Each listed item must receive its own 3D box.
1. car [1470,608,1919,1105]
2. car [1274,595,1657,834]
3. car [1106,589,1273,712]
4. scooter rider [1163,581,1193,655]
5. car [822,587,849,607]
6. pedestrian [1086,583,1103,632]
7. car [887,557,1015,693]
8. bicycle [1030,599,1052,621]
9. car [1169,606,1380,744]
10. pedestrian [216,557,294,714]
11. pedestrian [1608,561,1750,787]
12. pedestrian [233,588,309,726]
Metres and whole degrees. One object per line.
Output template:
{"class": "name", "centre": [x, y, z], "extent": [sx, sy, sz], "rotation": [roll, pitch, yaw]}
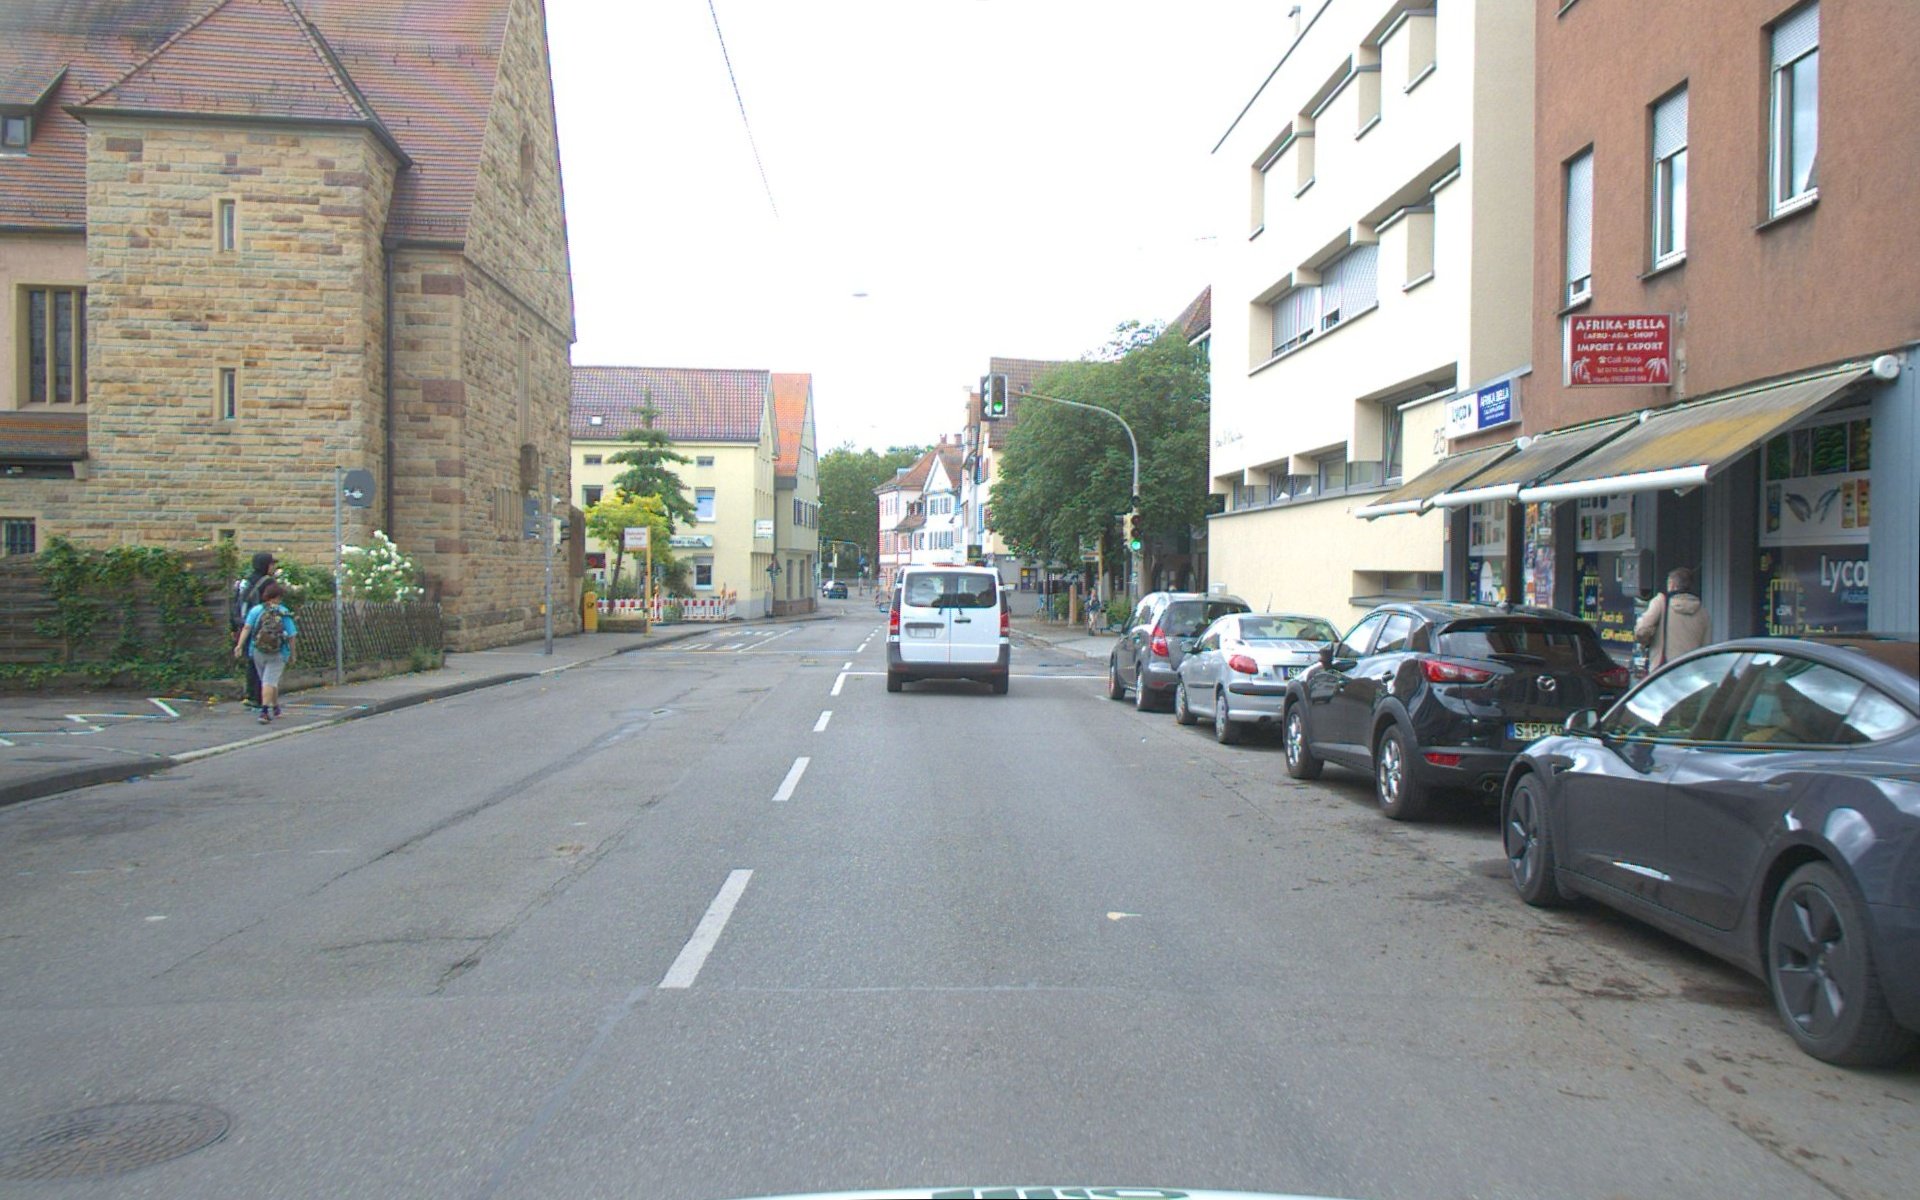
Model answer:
{"class": "car", "centre": [3.707, 0.780, 6.929], "extent": [1.715, 1.430, 4.510], "rotation": [0, 0, -1]}
{"class": "car", "centre": [3.724, 0.747, 12.974], "extent": [1.569, 1.545, 4.207], "rotation": [0, 0, -2]}
{"class": "car", "centre": [3.157, 0.650, 23.431], "extent": [1.677, 1.587, 3.784], "rotation": [1, 0, -2]}
{"class": "scooter rider", "centre": [4.970, 0.421, 37.717], "extent": [0.445, 1.660, 0.503], "rotation": [-2, -1, -16]}
{"class": "car", "centre": [-12.873, -0.335, 170.944], "extent": [1.904, 2.049, 3.982], "rotation": [1, 0, -17]}
{"class": "pedestrian", "centre": [4.787, 0.258, 58.766], "extent": [0.589, 1.745, 0.860], "rotation": [0, 0, 5]}
{"class": "car", "centre": [-0.149, 0.370, 25.950], "extent": [1.834, 1.945, 3.999], "rotation": [1, 0, -1]}
{"class": "bicycle", "centre": [4.148, 0.498, 84.834], "extent": [0.492, 1.126, 1.627], "rotation": [0, 0, -22]}
{"class": "car", "centre": [3.454, 0.769, 18.772], "extent": [1.520, 1.356, 3.810], "rotation": [1, 0, -2]}
{"class": "pedestrian", "centre": [-8.727, 0.429, 20.493], "extent": [0.559, 1.880, 0.697], "rotation": [3, 0, -1]}
{"class": "pedestrian", "centre": [5.558, 0.547, 12.824], "extent": [0.687, 1.678, 0.888], "rotation": [-1, 1, -2]}
{"class": "pedestrian", "centre": [-8.111, 0.658, 19.497], "extent": [0.559, 1.581, 0.697], "rotation": [2, 0, -1]}
